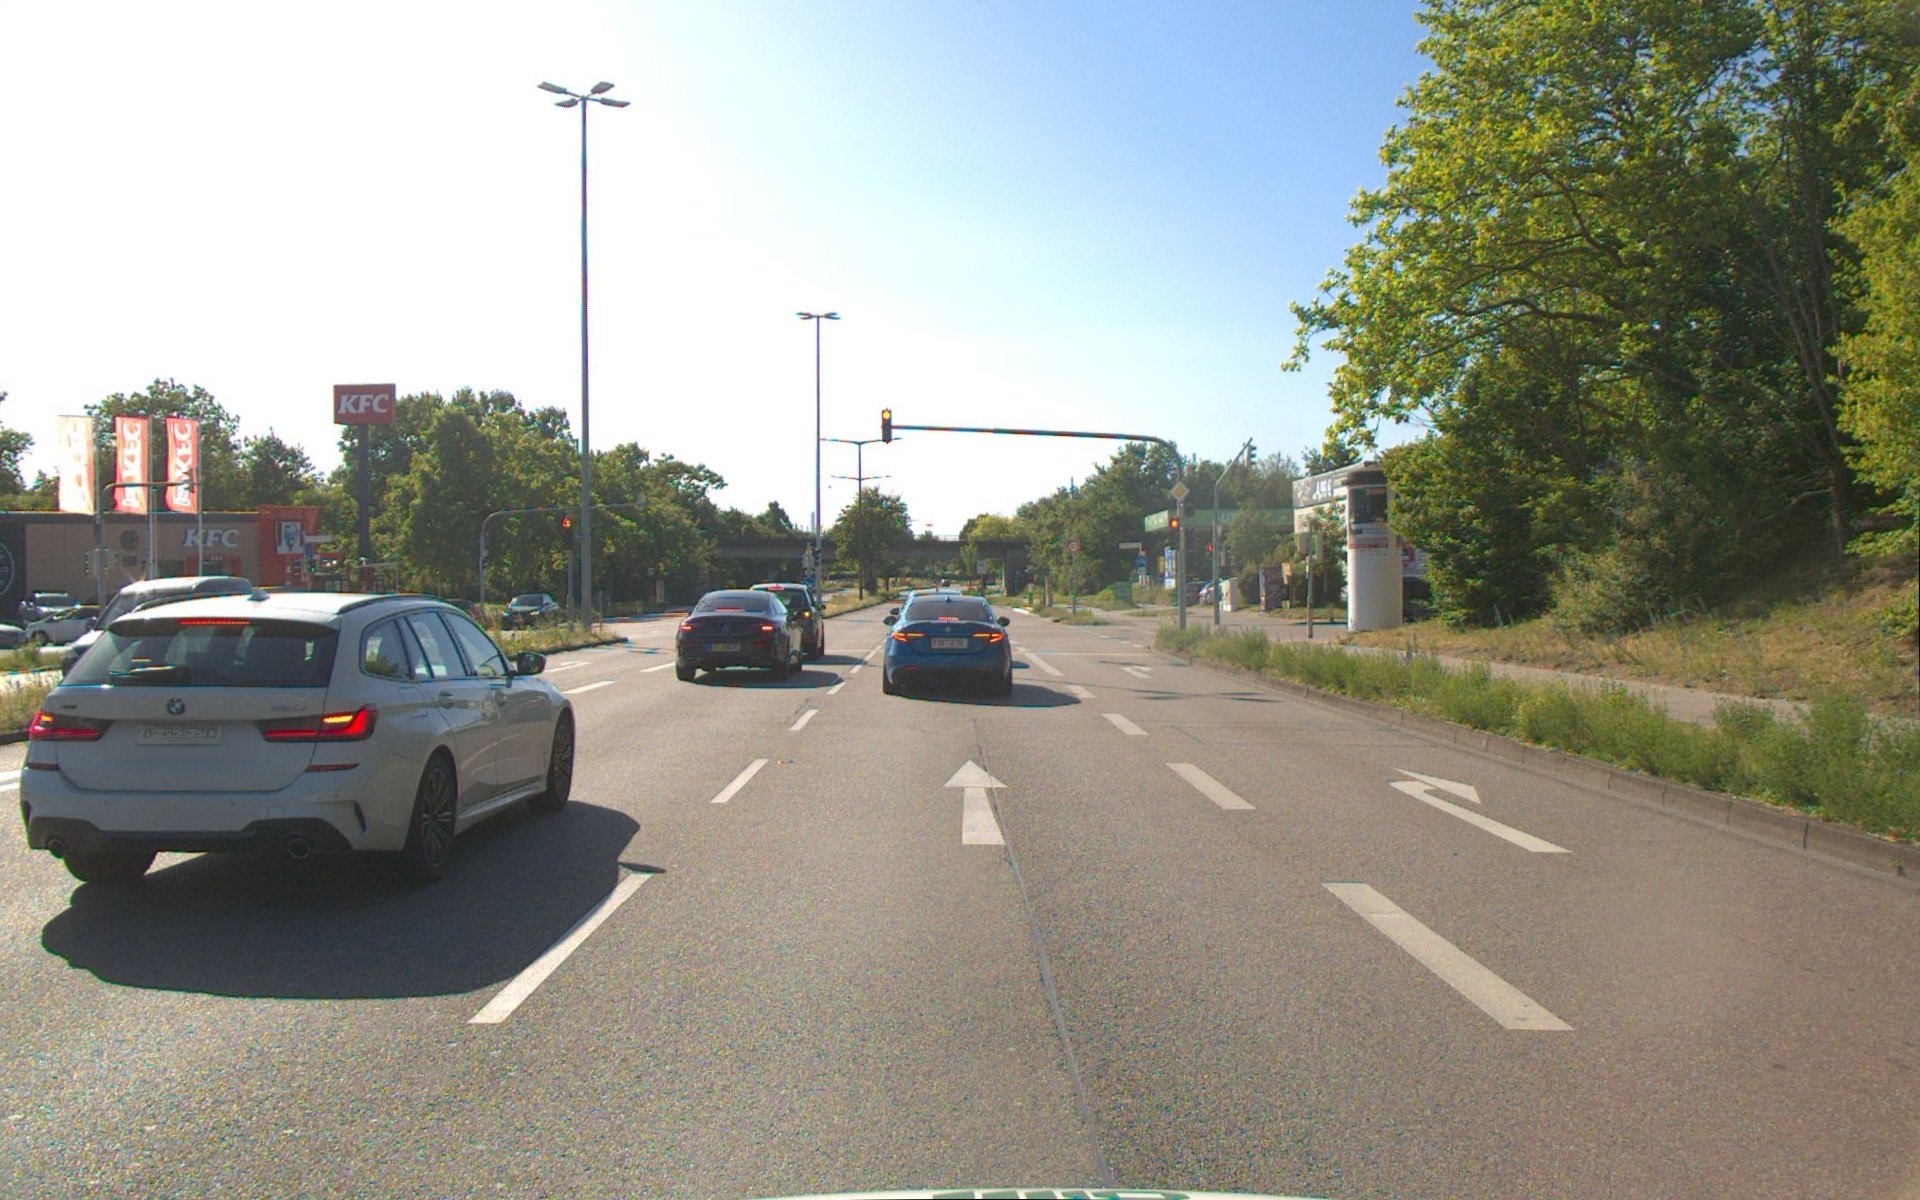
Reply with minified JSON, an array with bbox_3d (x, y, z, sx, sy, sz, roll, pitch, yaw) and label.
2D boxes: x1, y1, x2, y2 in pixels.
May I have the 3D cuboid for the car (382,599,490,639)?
[{"bbox_3d":[-21.474,0.795,67.866,1.965,1.586,3.749,1,0,42],"label":"car"}]

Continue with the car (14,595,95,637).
[{"bbox_3d":[-39.177,0.681,71.538,4.026,1.770,1.922,1,0,43],"label":"car"}]

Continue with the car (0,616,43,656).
[{"bbox_3d":[-33.302,1.168,55.497,4.001,1.274,1.871,1,0,-2],"label":"car"}]

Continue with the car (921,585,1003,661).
[{"bbox_3d":[0.078,0.476,35.786,1.669,1.523,3.719,1,0,1],"label":"car"}]

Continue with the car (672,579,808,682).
[{"bbox_3d":[-3.640,0.464,28.090,1.775,1.578,4.542,1,0,-1],"label":"car"}]

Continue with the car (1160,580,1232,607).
[{"bbox_3d":[14.562,-0.404,102.156,3.925,1.579,1.990,1,0,-18],"label":"car"}]

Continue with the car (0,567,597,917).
[{"bbox_3d":[-3.483,0.636,9.573,1.775,1.512,4.595,1,0,-1],"label":"car"}]

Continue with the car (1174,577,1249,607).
[{"bbox_3d":[14.168,-0.447,93.381,3.905,1.579,2.000,1,0,0],"label":"car"}]

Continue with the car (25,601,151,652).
[{"bbox_3d":[-33.204,1.011,63.069,3.684,1.845,1.999,1,0,-2],"label":"car"}]

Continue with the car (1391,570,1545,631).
[{"bbox_3d":[16.422,0.017,53.629,4.484,1.908,1.819,0,0,5],"label":"car"}]

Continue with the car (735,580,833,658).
[{"bbox_3d":[-3.756,0.397,35.914,1.776,1.578,4.351,1,0,-2],"label":"car"}]

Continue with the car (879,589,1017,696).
[{"bbox_3d":[-0.127,0.596,24.635,1.870,1.447,3.719,1,0,1],"label":"car"}]

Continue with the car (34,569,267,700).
[{"bbox_3d":[-12.720,0.512,26.306,1.644,1.880,4.294,1,0,-1],"label":"car"}]

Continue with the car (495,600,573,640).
[{"bbox_3d":[-19.528,0.889,75.953,1.764,1.756,4.326,1,1,11],"label":"car"}]
